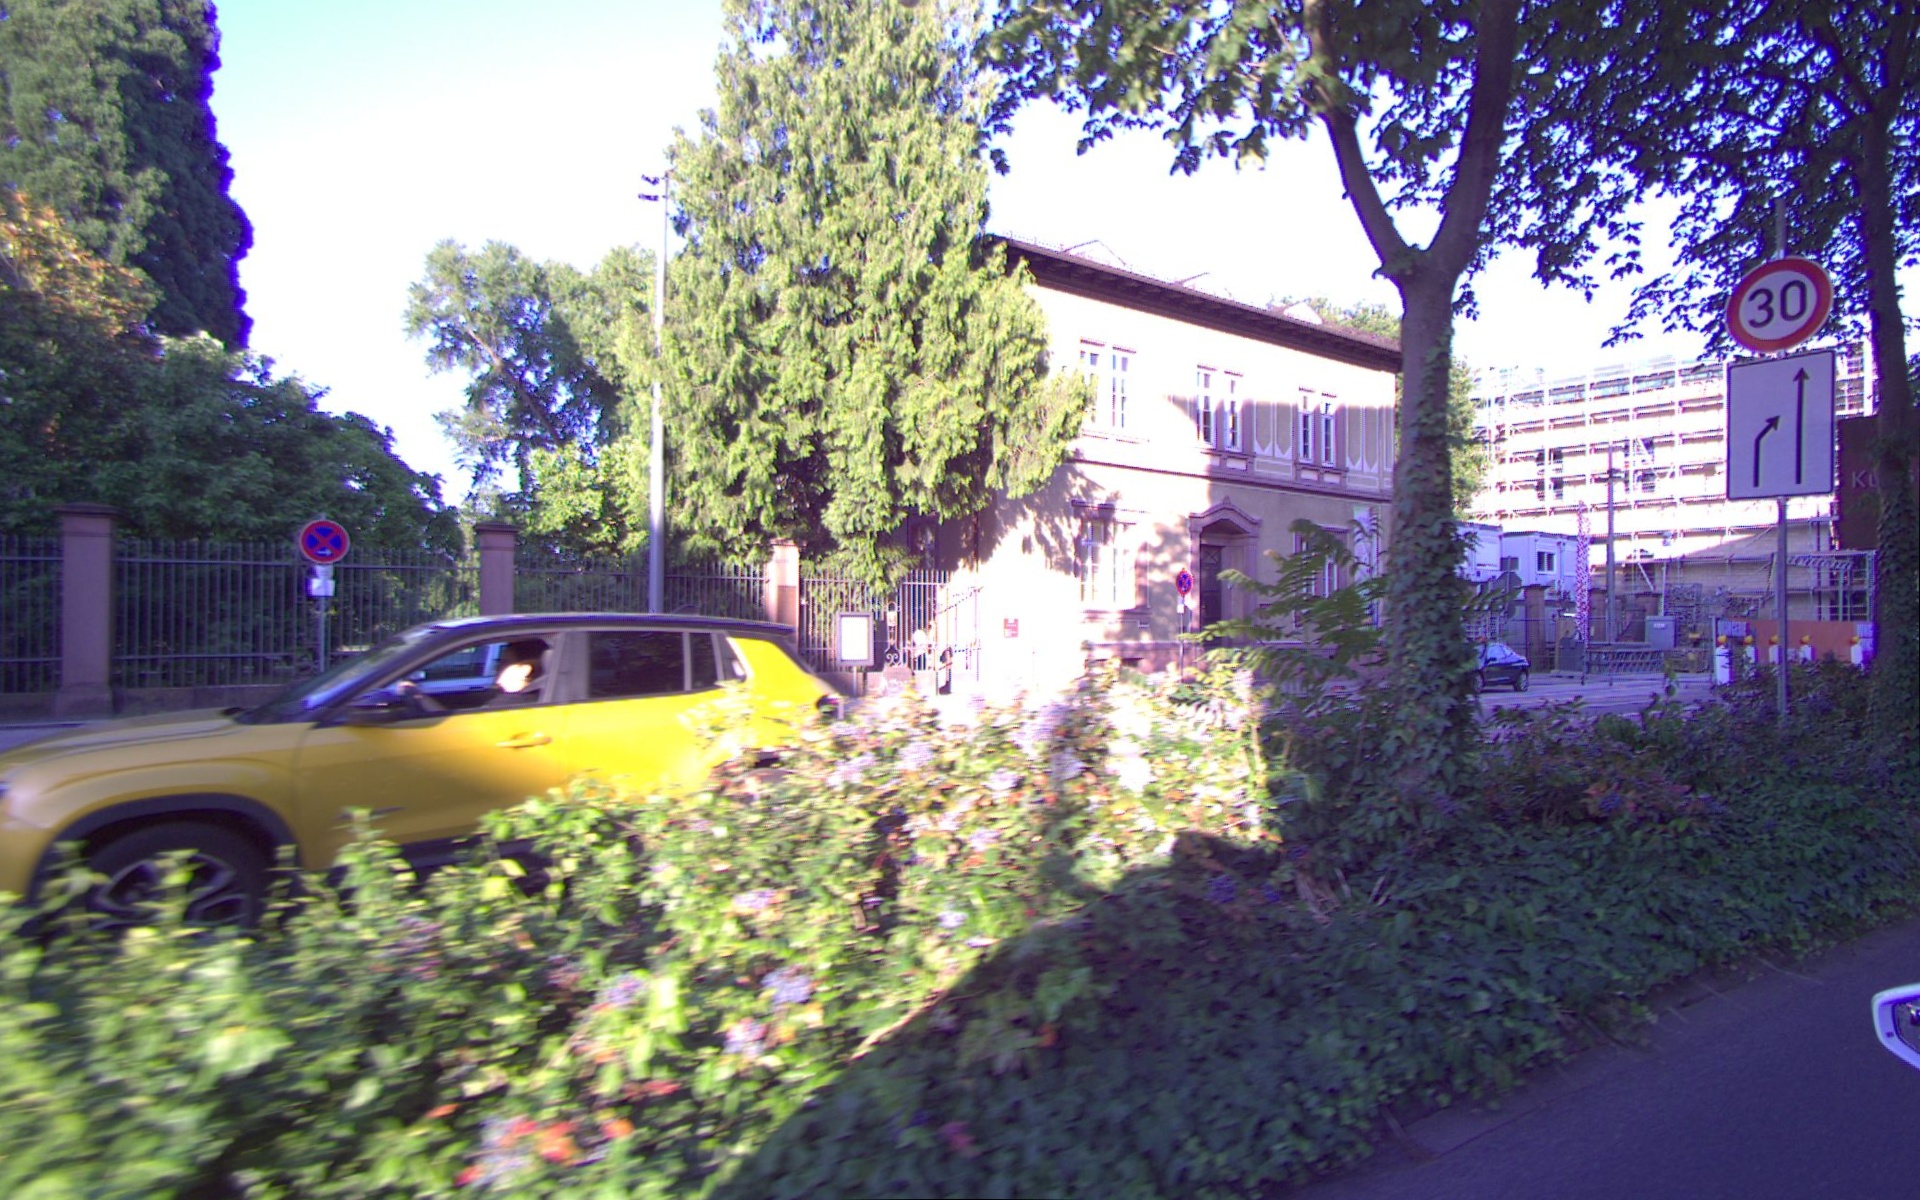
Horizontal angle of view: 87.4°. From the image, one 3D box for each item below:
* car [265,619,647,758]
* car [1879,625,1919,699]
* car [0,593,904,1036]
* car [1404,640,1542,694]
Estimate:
[{"bbox_3d":[-6.610,1.063,13.440,4.323,1.568,1.734,1,0,-33],"label":"car"},{"bbox_3d":[24.174,1.454,24.023,4.499,1.696,1.836,1,-3,-28],"label":"car"},{"bbox_3d":[-2.497,0.816,5.341,4.077,1.568,1.833,1,-2,-35],"label":"car"},{"bbox_3d":[14.037,1.783,27.436,3.845,1.369,1.670,1,-3,-33],"label":"car"}]
